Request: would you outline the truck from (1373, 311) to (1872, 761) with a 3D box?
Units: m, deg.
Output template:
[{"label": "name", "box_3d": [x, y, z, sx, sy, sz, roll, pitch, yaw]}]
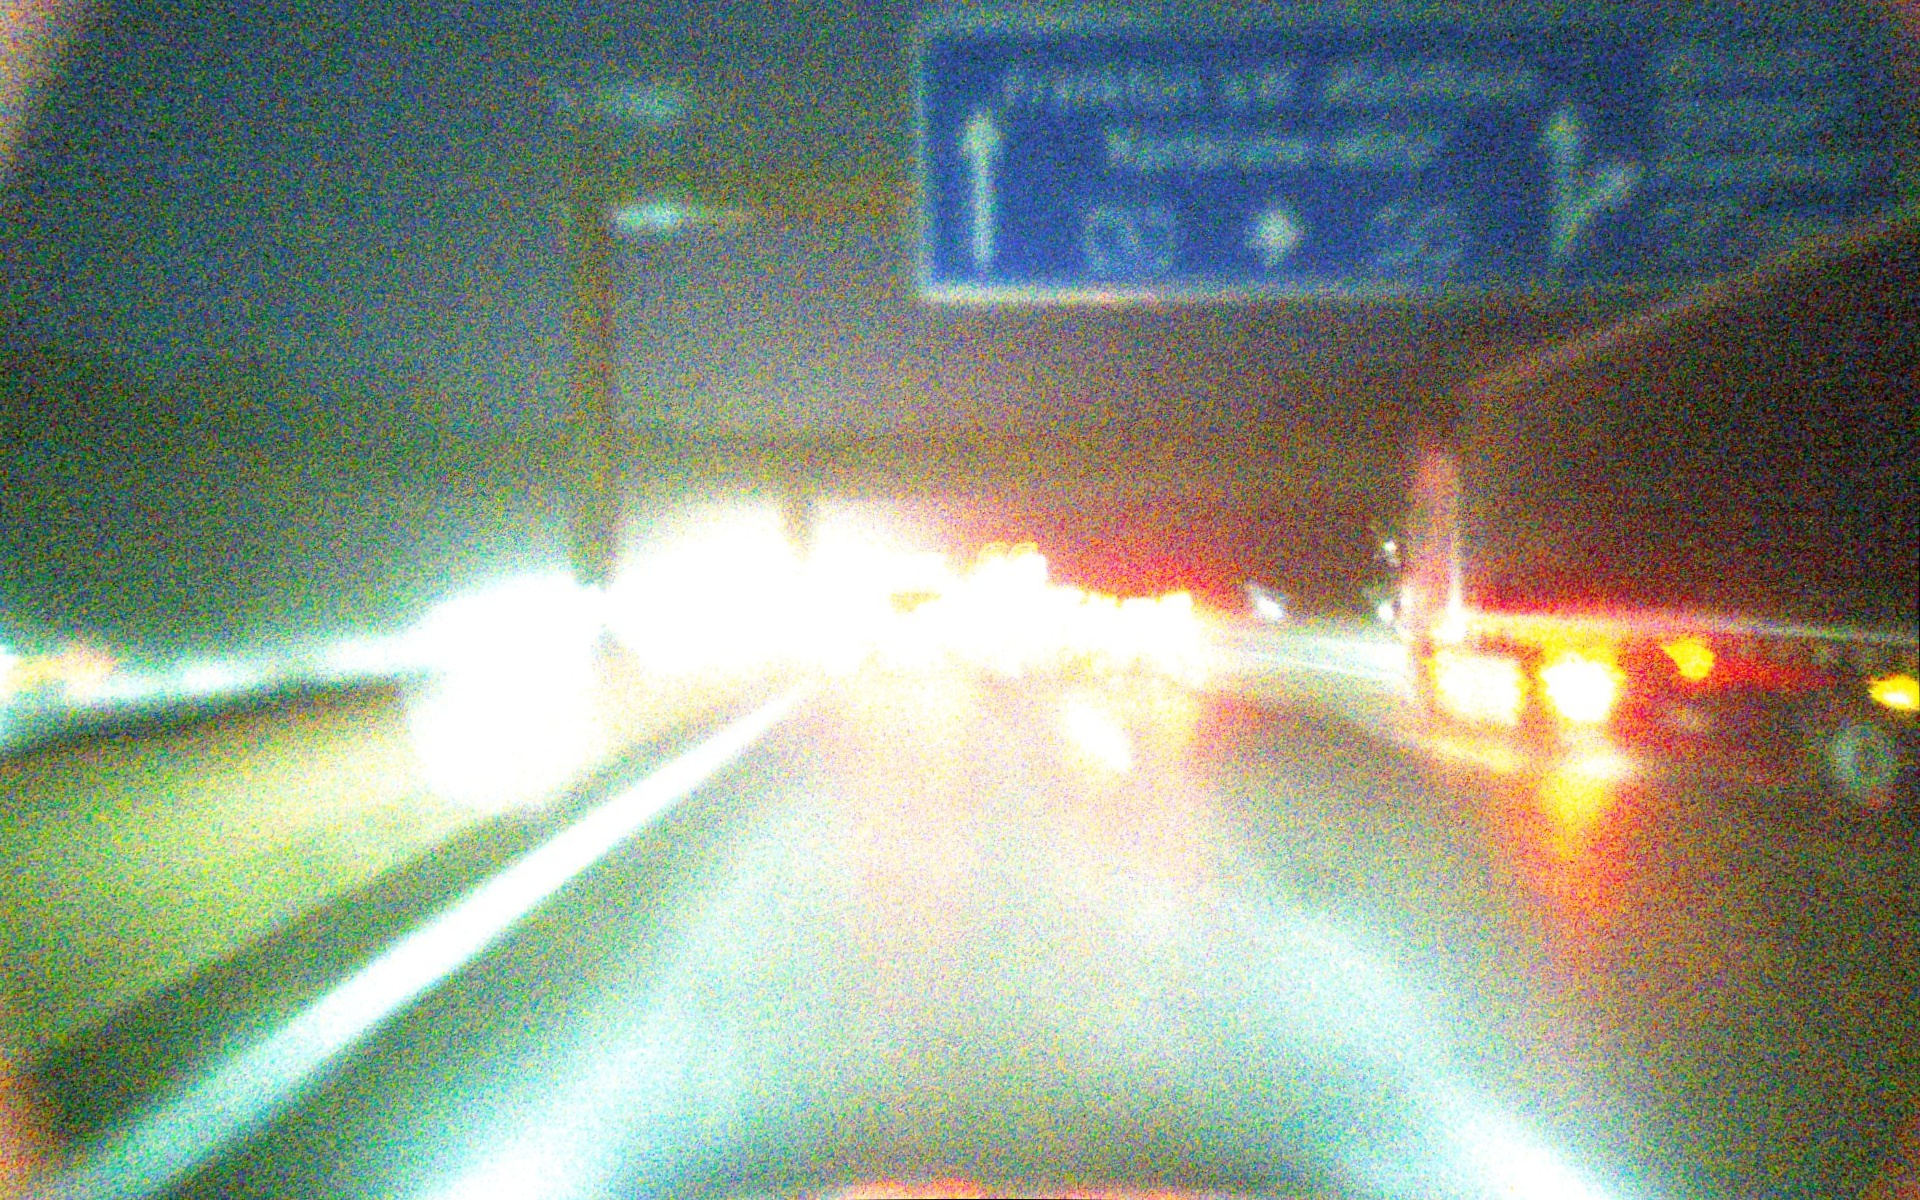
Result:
[{"label": "truck", "box_3d": [7.127, -0.598, 19.084, 2.801, 4.175, 7.012, 1, 0, -1]}]

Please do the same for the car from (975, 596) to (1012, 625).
[{"label": "car", "box_3d": [1.650, 0.512, 82.954, 1.580, 1.437, 3.789, 0, 0, -3]}]

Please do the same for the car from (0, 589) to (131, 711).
[{"label": "car", "box_3d": [-20.925, 1.057, 35.835, 2.333, 2.485, 7.146, -2, 1, -1]}]

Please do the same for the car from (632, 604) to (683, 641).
[{"label": "car", "box_3d": [-13.997, 1.026, 76.675, 1.699, 1.534, 3.794, -2, 1, -1]}]

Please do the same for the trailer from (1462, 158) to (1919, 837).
[{"label": "trailer", "box_3d": [7.255, -0.606, 12.063, 2.806, 4.169, 13.638, 1, 0, -1]}]

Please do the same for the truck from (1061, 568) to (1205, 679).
[{"label": "truck", "box_3d": [2.885, 0.375, 28.536, 1.806, 1.726, 4.852, 1, 0, -2]}]

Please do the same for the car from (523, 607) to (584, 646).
[{"label": "car", "box_3d": [-17.729, 1.136, 72.330, 1.656, 1.534, 4.271, -2, 1, -1]}]

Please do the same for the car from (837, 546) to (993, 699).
[{"label": "car", "box_3d": [-0.974, 0.356, 31.836, 2.656, 2.578, 5.826, -2, 1, -4]}]

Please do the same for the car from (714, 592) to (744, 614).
[{"label": "car", "box_3d": [-16.710, 0.231, 119.831, 1.749, 1.553, 4.378, 1, 0, -3]}]

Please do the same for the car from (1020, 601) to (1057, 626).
[{"label": "car", "box_3d": [5.131, 0.859, 108.523, 1.856, 1.512, 4.959, 1, 1, -3]}]
